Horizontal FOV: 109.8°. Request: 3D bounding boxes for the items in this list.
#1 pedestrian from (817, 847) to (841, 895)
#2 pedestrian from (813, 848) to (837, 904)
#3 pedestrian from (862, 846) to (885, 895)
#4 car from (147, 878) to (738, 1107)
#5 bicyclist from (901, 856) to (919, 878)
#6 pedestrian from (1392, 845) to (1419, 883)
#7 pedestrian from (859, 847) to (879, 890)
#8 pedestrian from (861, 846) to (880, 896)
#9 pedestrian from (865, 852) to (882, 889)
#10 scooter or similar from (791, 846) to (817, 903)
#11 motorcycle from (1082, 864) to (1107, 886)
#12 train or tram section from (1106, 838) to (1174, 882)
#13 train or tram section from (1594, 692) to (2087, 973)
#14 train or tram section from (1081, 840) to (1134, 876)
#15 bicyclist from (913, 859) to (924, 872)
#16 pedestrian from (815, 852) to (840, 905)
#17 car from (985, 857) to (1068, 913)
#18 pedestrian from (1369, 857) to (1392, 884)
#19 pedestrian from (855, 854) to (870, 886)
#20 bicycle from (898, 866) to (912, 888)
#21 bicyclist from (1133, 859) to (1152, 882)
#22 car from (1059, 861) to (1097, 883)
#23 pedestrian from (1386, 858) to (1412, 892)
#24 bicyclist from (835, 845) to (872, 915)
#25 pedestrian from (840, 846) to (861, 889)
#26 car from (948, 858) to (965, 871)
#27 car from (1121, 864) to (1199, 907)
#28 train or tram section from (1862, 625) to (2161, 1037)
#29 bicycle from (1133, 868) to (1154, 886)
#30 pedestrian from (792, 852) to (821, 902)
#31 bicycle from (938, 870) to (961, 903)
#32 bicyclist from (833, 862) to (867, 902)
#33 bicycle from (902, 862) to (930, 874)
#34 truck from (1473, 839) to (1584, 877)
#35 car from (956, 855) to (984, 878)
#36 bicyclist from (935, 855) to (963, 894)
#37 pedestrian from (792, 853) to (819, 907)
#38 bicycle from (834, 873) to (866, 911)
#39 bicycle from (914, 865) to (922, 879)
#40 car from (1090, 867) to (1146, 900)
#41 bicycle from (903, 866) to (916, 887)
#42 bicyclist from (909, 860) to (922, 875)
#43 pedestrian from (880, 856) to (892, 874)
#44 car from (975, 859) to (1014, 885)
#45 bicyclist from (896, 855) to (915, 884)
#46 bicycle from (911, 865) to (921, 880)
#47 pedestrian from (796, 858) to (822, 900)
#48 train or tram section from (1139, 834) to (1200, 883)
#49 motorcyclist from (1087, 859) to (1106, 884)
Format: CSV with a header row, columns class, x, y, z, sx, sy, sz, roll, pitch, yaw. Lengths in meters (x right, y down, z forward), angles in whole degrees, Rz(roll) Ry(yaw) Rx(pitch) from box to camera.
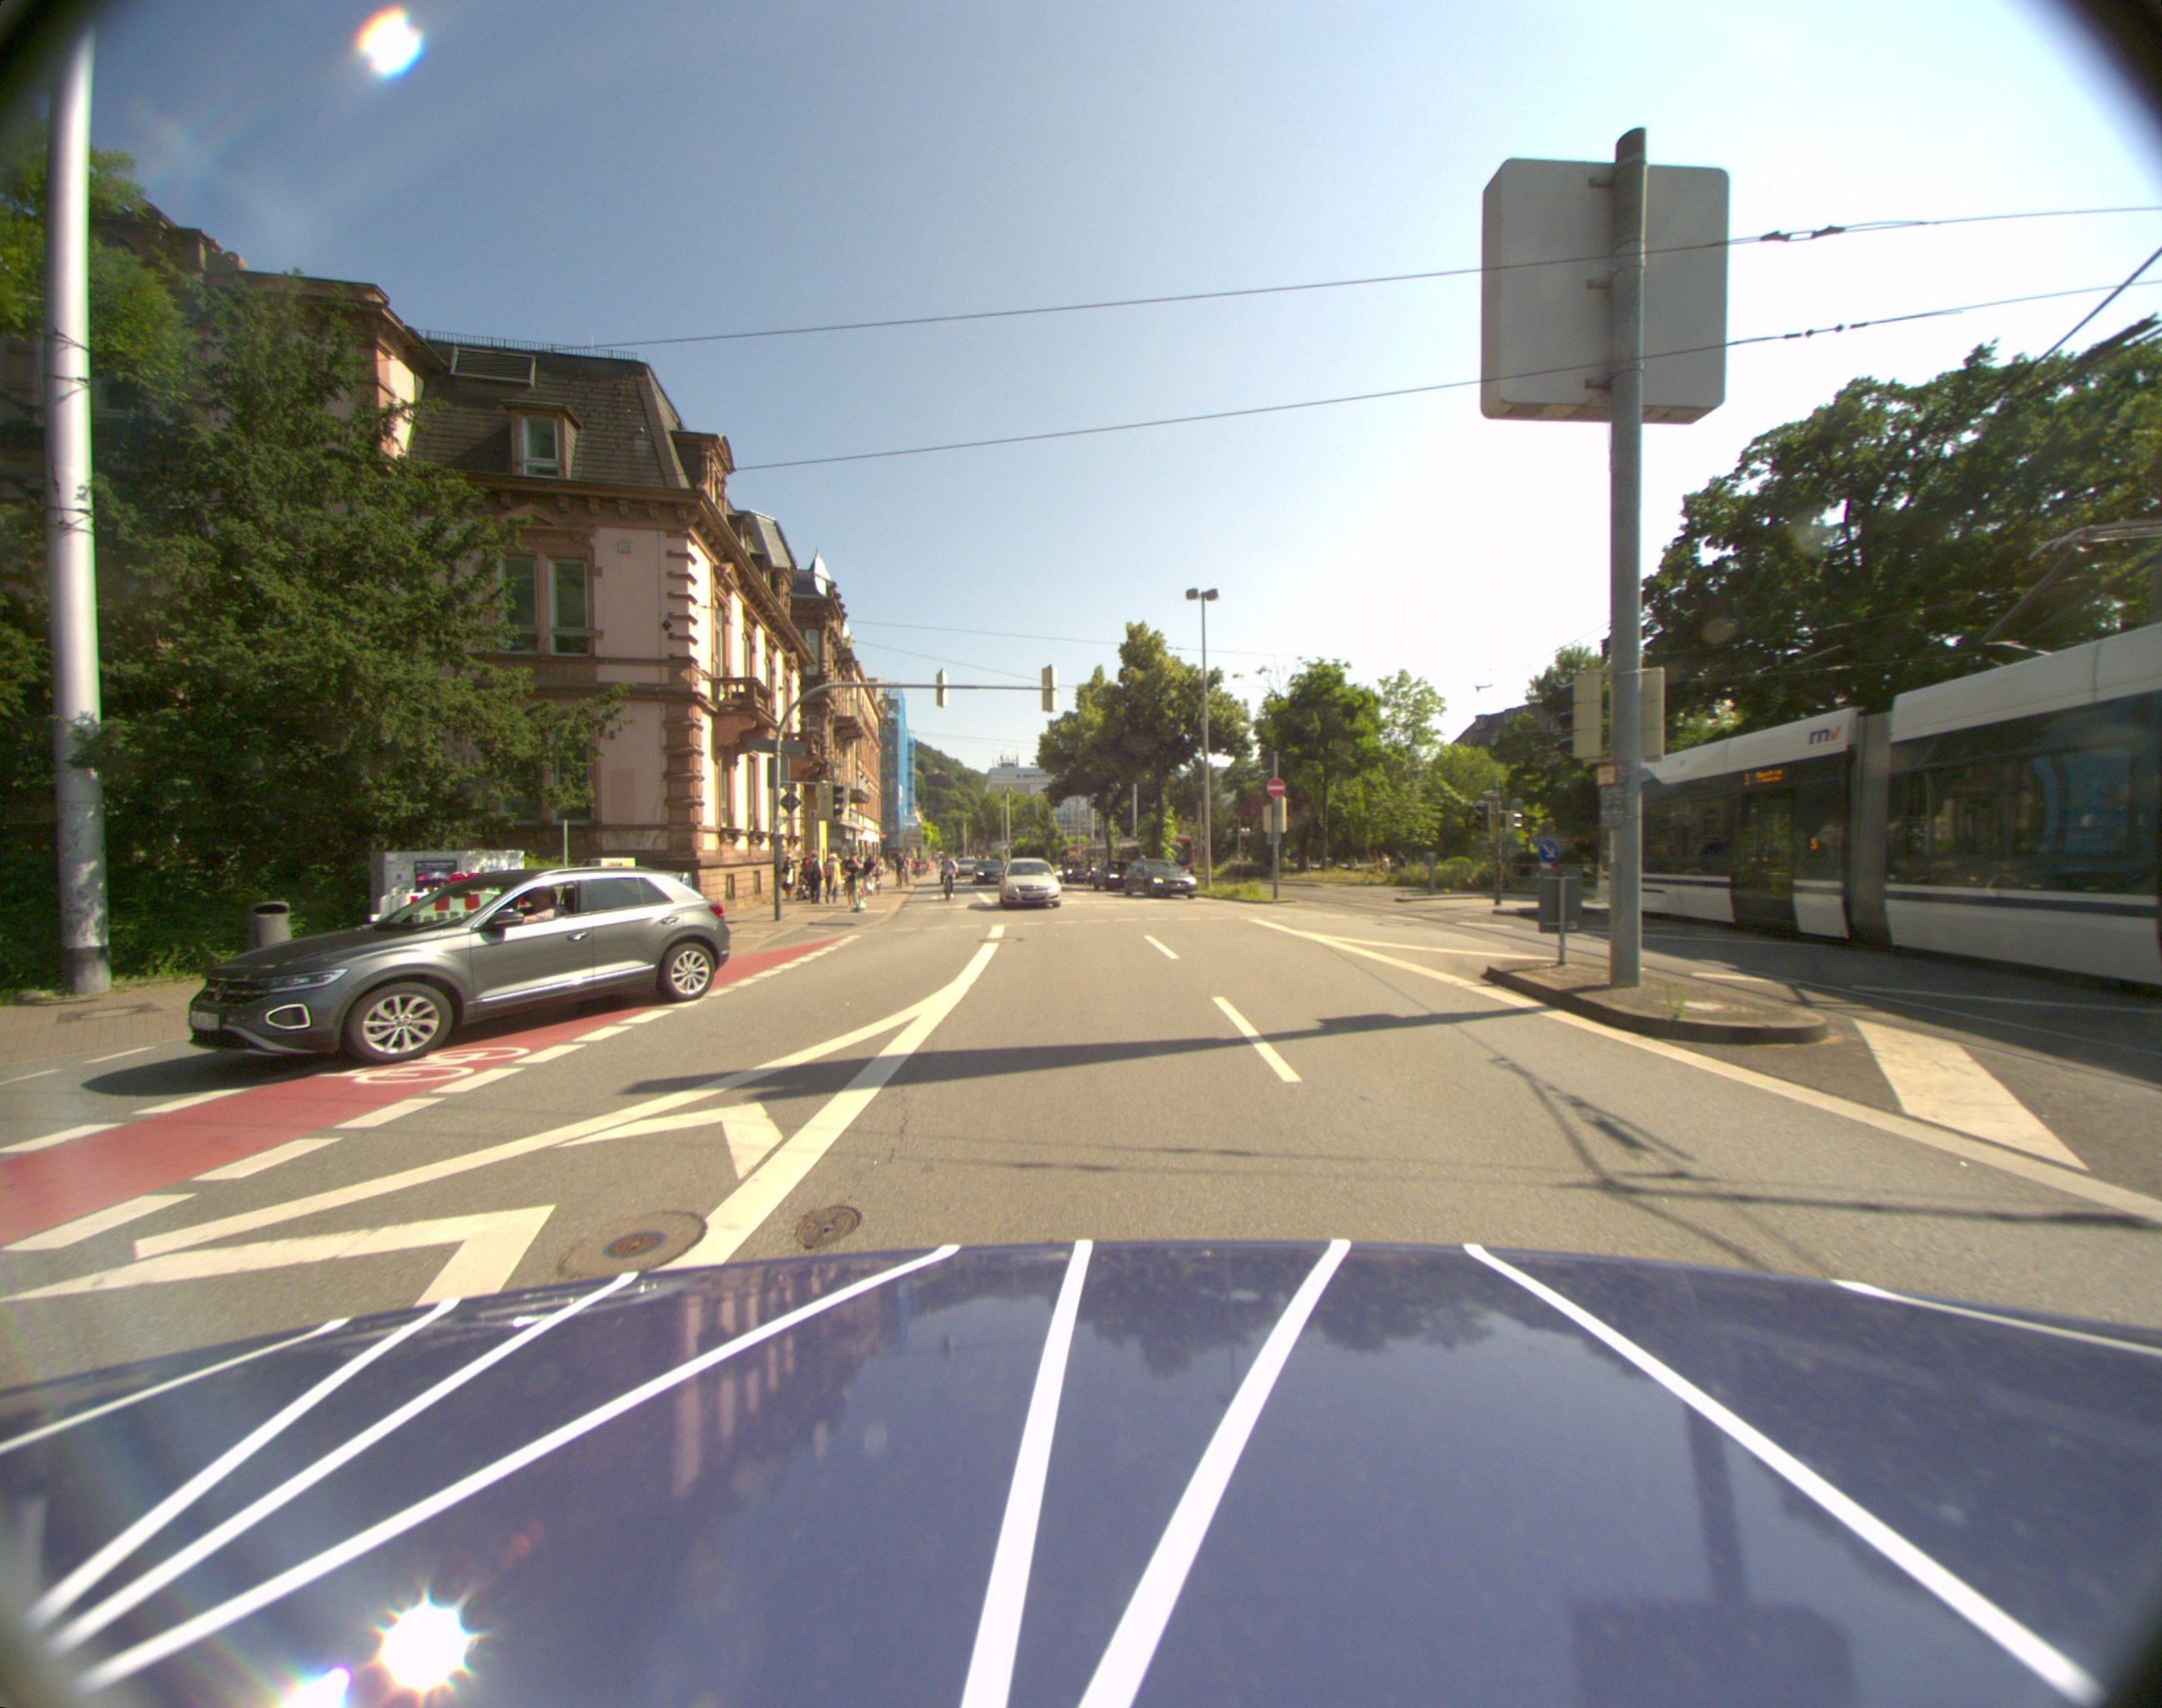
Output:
class,x,y,z,sx,sy,sz,roll,pitch,yaw
pedestrian,-10.882,0.725,32.863,0.814,2.001,0.814,2,0,-12
pedestrian,-8.833,0.765,26.236,0.637,1.880,0.902,-1,0,-12
pedestrian,-8.554,0.677,31.344,0.814,2.001,0.814,2,0,-12
car,-5.775,1.054,7.504,1.931,1.506,4.000,-2,-1,26
bicyclist,-9.343,0.701,41.566,0.913,1.227,1.231,0,0,-12
pedestrian,19.003,0.570,44.517,1.127,2.138,0.802,-2,0,-4
pedestrian,-10.194,0.691,36.629,0.814,2.001,0.814,2,0,-12
pedestrian,-8.709,0.702,31.467,0.662,2.001,0.699,2,0,-12
pedestrian,-11.656,0.913,42.637,0.814,2.001,0.814,2,0,-12
scooter or similar,-9.887,0.725,27.155,0.694,2.002,1.094,0,0,-12
motorcycle,0.753,1.152,42.158,0.903,1.156,2.351,0,0,-11
train or tram section,4.826,0.538,65.268,2.769,3.383,12.401,0,0,-10
train or tram section,13.368,-0.251,14.920,2.541,3.755,9.180,-1,0,15
train or tram section,2.492,0.415,77.225,2.769,3.383,12.400,0,0,-11
bicyclist,-13.264,0.916,62.078,0.913,1.076,1.231,0,0,-12
pedestrian,-8.450,0.806,25.346,0.708,1.758,0.902,0,0,-12
car,-1.794,0.873,23.593,1.804,1.492,4.492,-2,0,-13
pedestrian,18.147,0.998,46.066,1.039,1.610,0.934,0,0,-4
pedestrian,-11.728,0.851,40.793,0.707,1.685,0.628,0,1,-8
bicycle,-9.011,1.180,38.973,0.644,1.076,2.494,0,0,-11
bicyclist,3.930,1.041,48.354,0.913,1.385,1.231,0,0,-12
car,-0.235,1.071,46.946,1.639,1.300,3.910,0,0,-12
pedestrian,19.082,1.239,45.565,1.225,2.002,0.802,0,0,-4
bicyclist,-6.638,0.733,22.202,0.945,2.002,0.829,0,0,-12
pedestrian,-11.050,0.662,36.453,0.814,2.001,0.814,2,0,-12
car,-15.773,1.347,96.545,2.000,1.564,3.997,-2,0,-9
car,2.929,1.151,29.217,1.754,1.477,4.743,1,-1,-10
train or tram section,10.873,-0.228,5.856,2.540,3.754,9.182,-1,-1,16
bicycle,3.942,1.439,48.283,0.644,1.077,2.494,-1,1,-11
pedestrian,-10.069,0.832,27.909,0.814,1.782,0.814,2,0,-12
bicycle,-4.797,1.156,27.643,0.644,1.076,2.493,0,0,-13
bicyclist,-7.206,0.858,23.751,0.924,1.212,0.971,0,0,-12
bicycle,-15.479,1.337,71.433,2.496,1.076,0.643,0,0,-7
truck,53.323,0.546,91.121,3.636,4.237,11.792,0,0,-20
car,-8.462,0.944,57.793,2.000,1.564,3.997,-2,0,-9
bicyclist,-4.819,0.719,27.656,0.913,1.385,1.231,0,0,-14
pedestrian,-9.140,0.835,25.209,0.708,1.743,0.902,0,1,-12
bicycle,-7.216,1.165,23.797,0.781,1.096,2.136,0,0,-12
bicycle,-13.316,1.473,62.048,0.644,1.076,2.494,0,0,-11
car,1.652,1.331,35.136,1.799,1.403,3.997,0,0,-10
bicycle,-9.411,1.212,41.698,0.644,1.076,2.494,0,0,-11
bicyclist,-12.353,1.011,56.722,0.913,1.062,1.231,0,0,-12
pedestrian,-17.426,0.985,67.932,0.913,1.591,1.231,0,0,-12
car,-4.895,1.019,42.698,1.896,1.322,3.997,-2,-1,-10
bicyclist,-8.983,0.783,38.858,0.913,1.428,1.231,0,0,-12
bicycle,-12.309,1.378,56.762,0.644,1.076,2.494,0,0,-11
pedestrian,-10.556,0.959,29.524,0.814,1.593,0.814,2,0,-12
train or tram section,6.417,0.335,56.114,2.770,3.383,5.881,0,0,-12
motorcyclist,0.863,0.979,42.289,0.903,1.350,0.992,0,0,-12
